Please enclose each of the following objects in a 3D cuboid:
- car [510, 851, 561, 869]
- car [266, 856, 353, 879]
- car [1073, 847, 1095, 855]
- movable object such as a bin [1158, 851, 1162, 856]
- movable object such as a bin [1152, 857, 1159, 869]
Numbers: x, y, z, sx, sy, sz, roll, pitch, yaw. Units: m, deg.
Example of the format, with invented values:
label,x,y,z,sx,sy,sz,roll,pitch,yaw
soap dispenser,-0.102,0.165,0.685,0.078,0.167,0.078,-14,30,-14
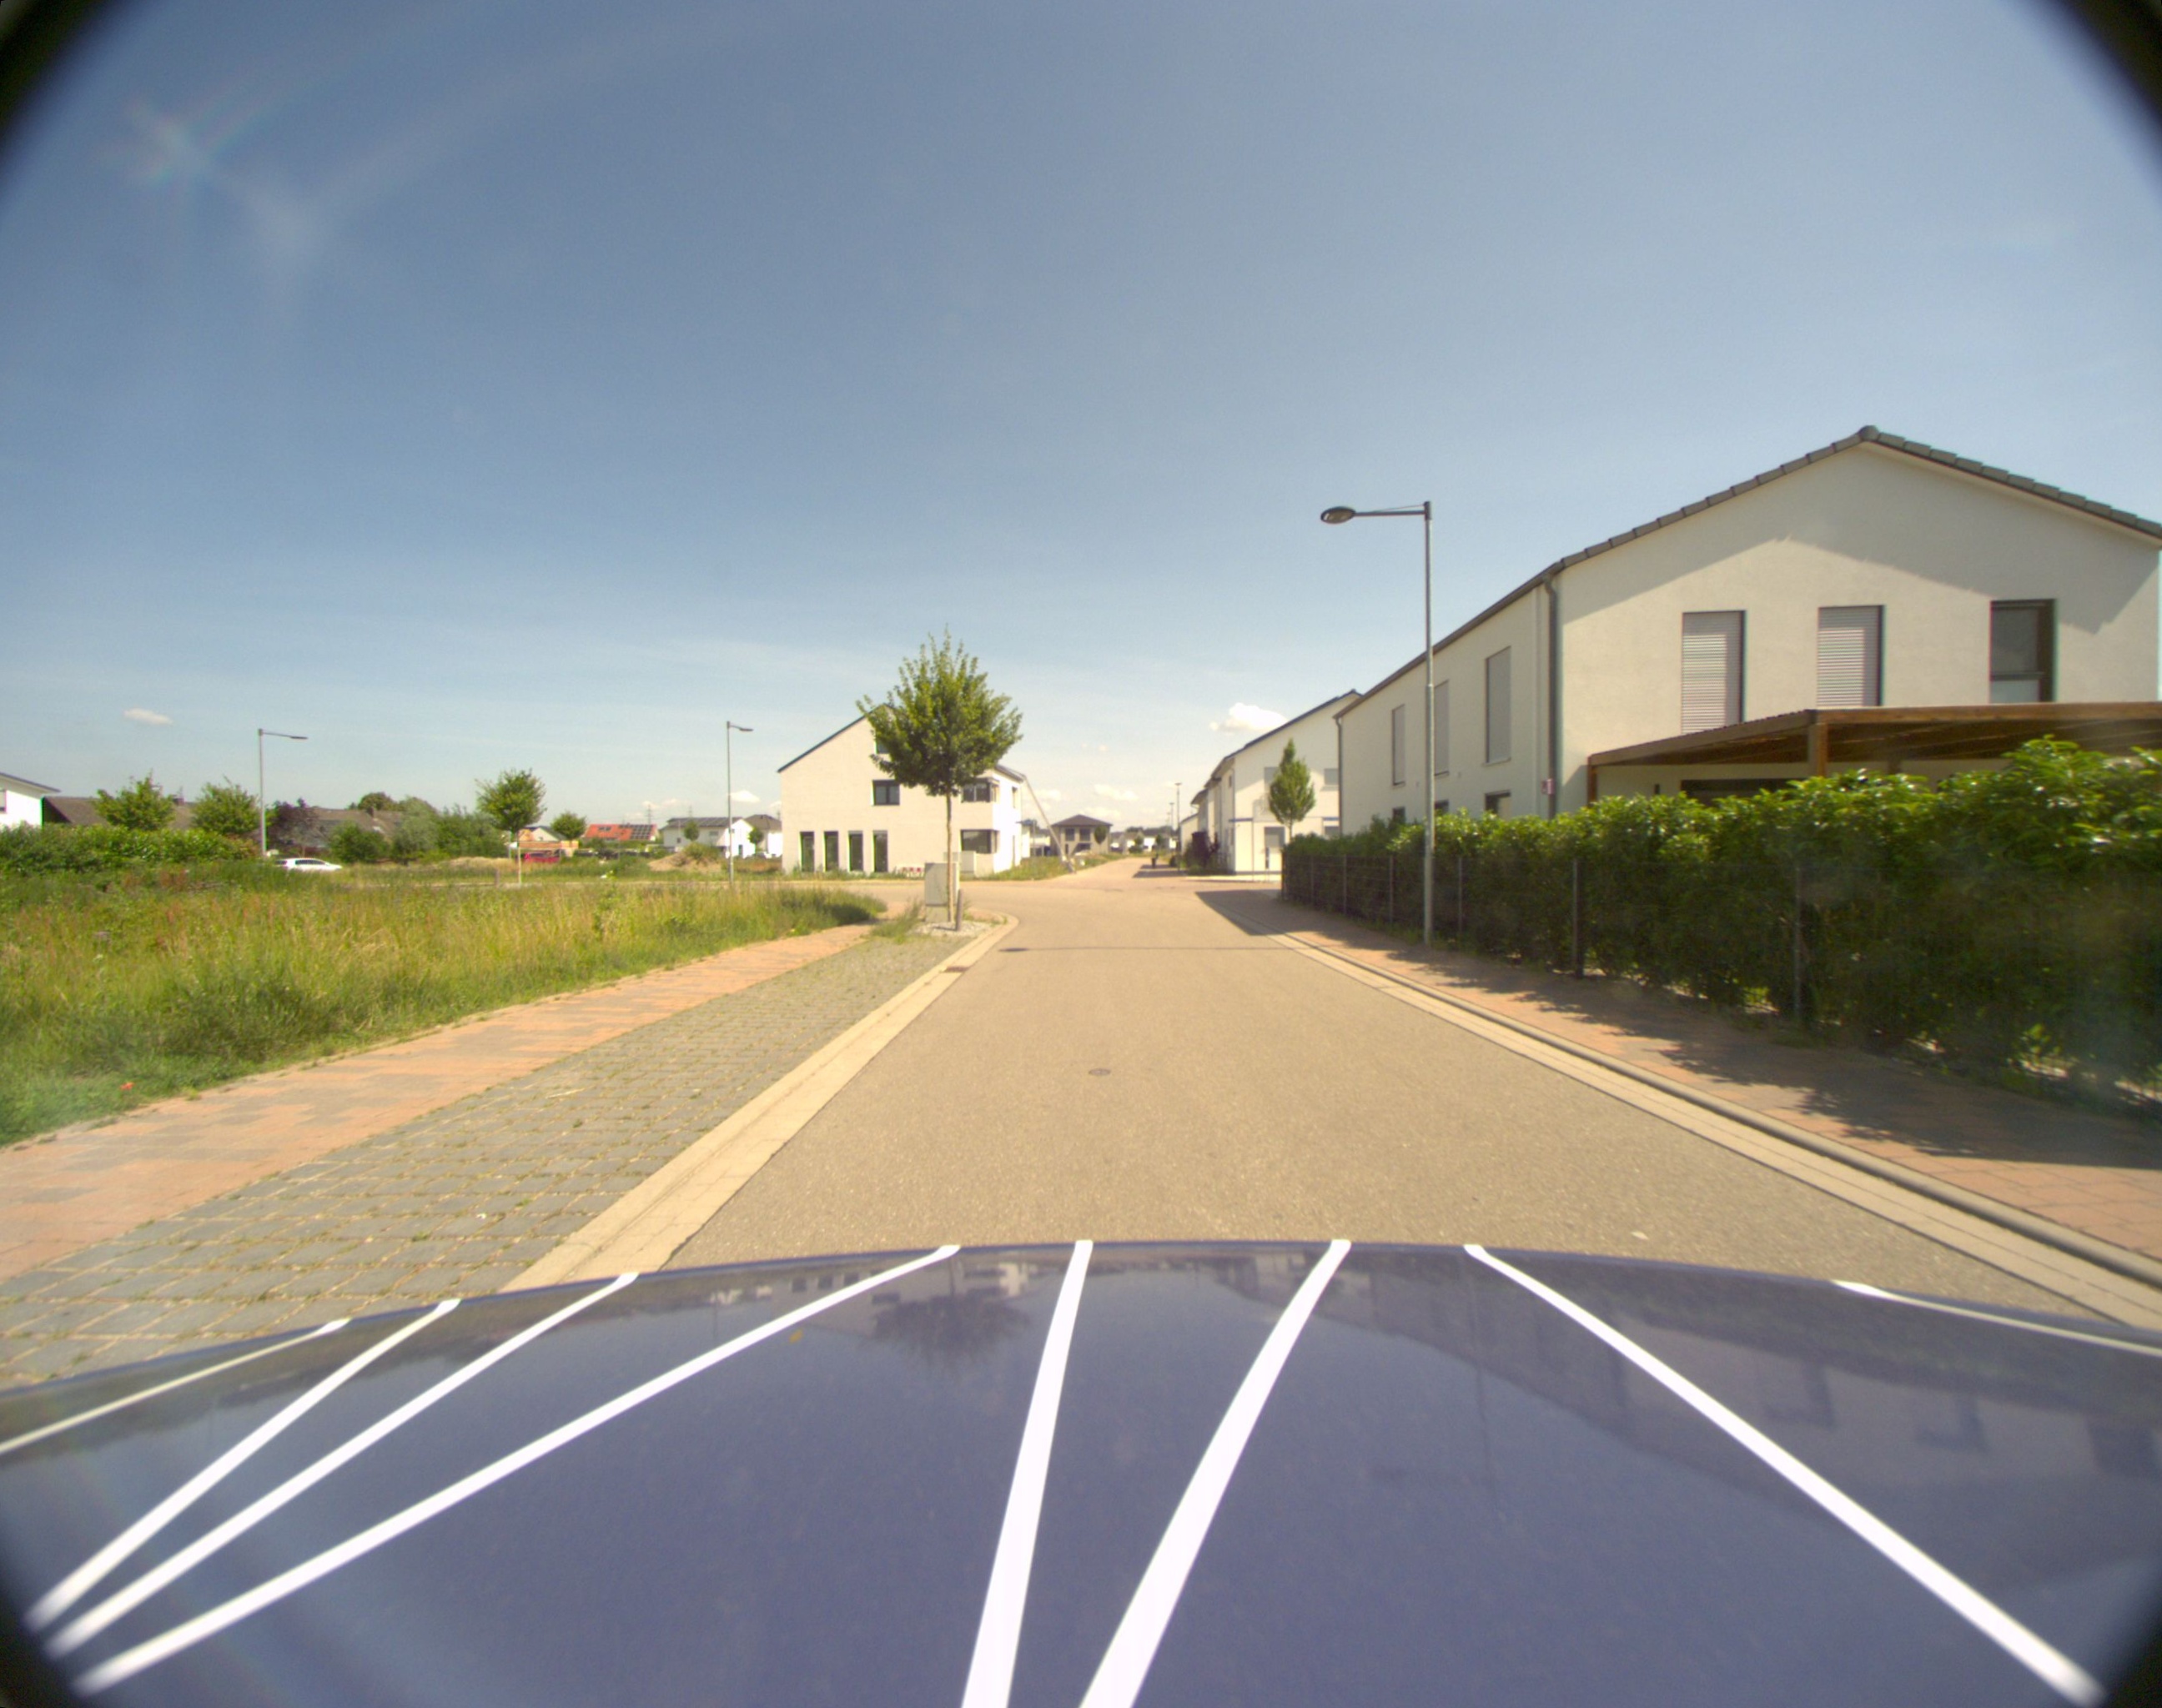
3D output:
label,x,y,z,sx,sy,sz,roll,pitch,yaw
car,-52.556,0.539,73.285,1.807,1.607,4.001,0,1,6
car,-54.911,0.936,54.213,1.807,1.494,4.003,0,1,10
car,0.504,-0.535,136.186,3.998,1.543,1.834,0,1,-2
movable object such as a bin,13.686,-0.114,131.836,0.597,0.916,0.462,0,1,7
movable object such as a bin,5.974,0.729,60.935,0.597,0.916,0.462,0,1,7
